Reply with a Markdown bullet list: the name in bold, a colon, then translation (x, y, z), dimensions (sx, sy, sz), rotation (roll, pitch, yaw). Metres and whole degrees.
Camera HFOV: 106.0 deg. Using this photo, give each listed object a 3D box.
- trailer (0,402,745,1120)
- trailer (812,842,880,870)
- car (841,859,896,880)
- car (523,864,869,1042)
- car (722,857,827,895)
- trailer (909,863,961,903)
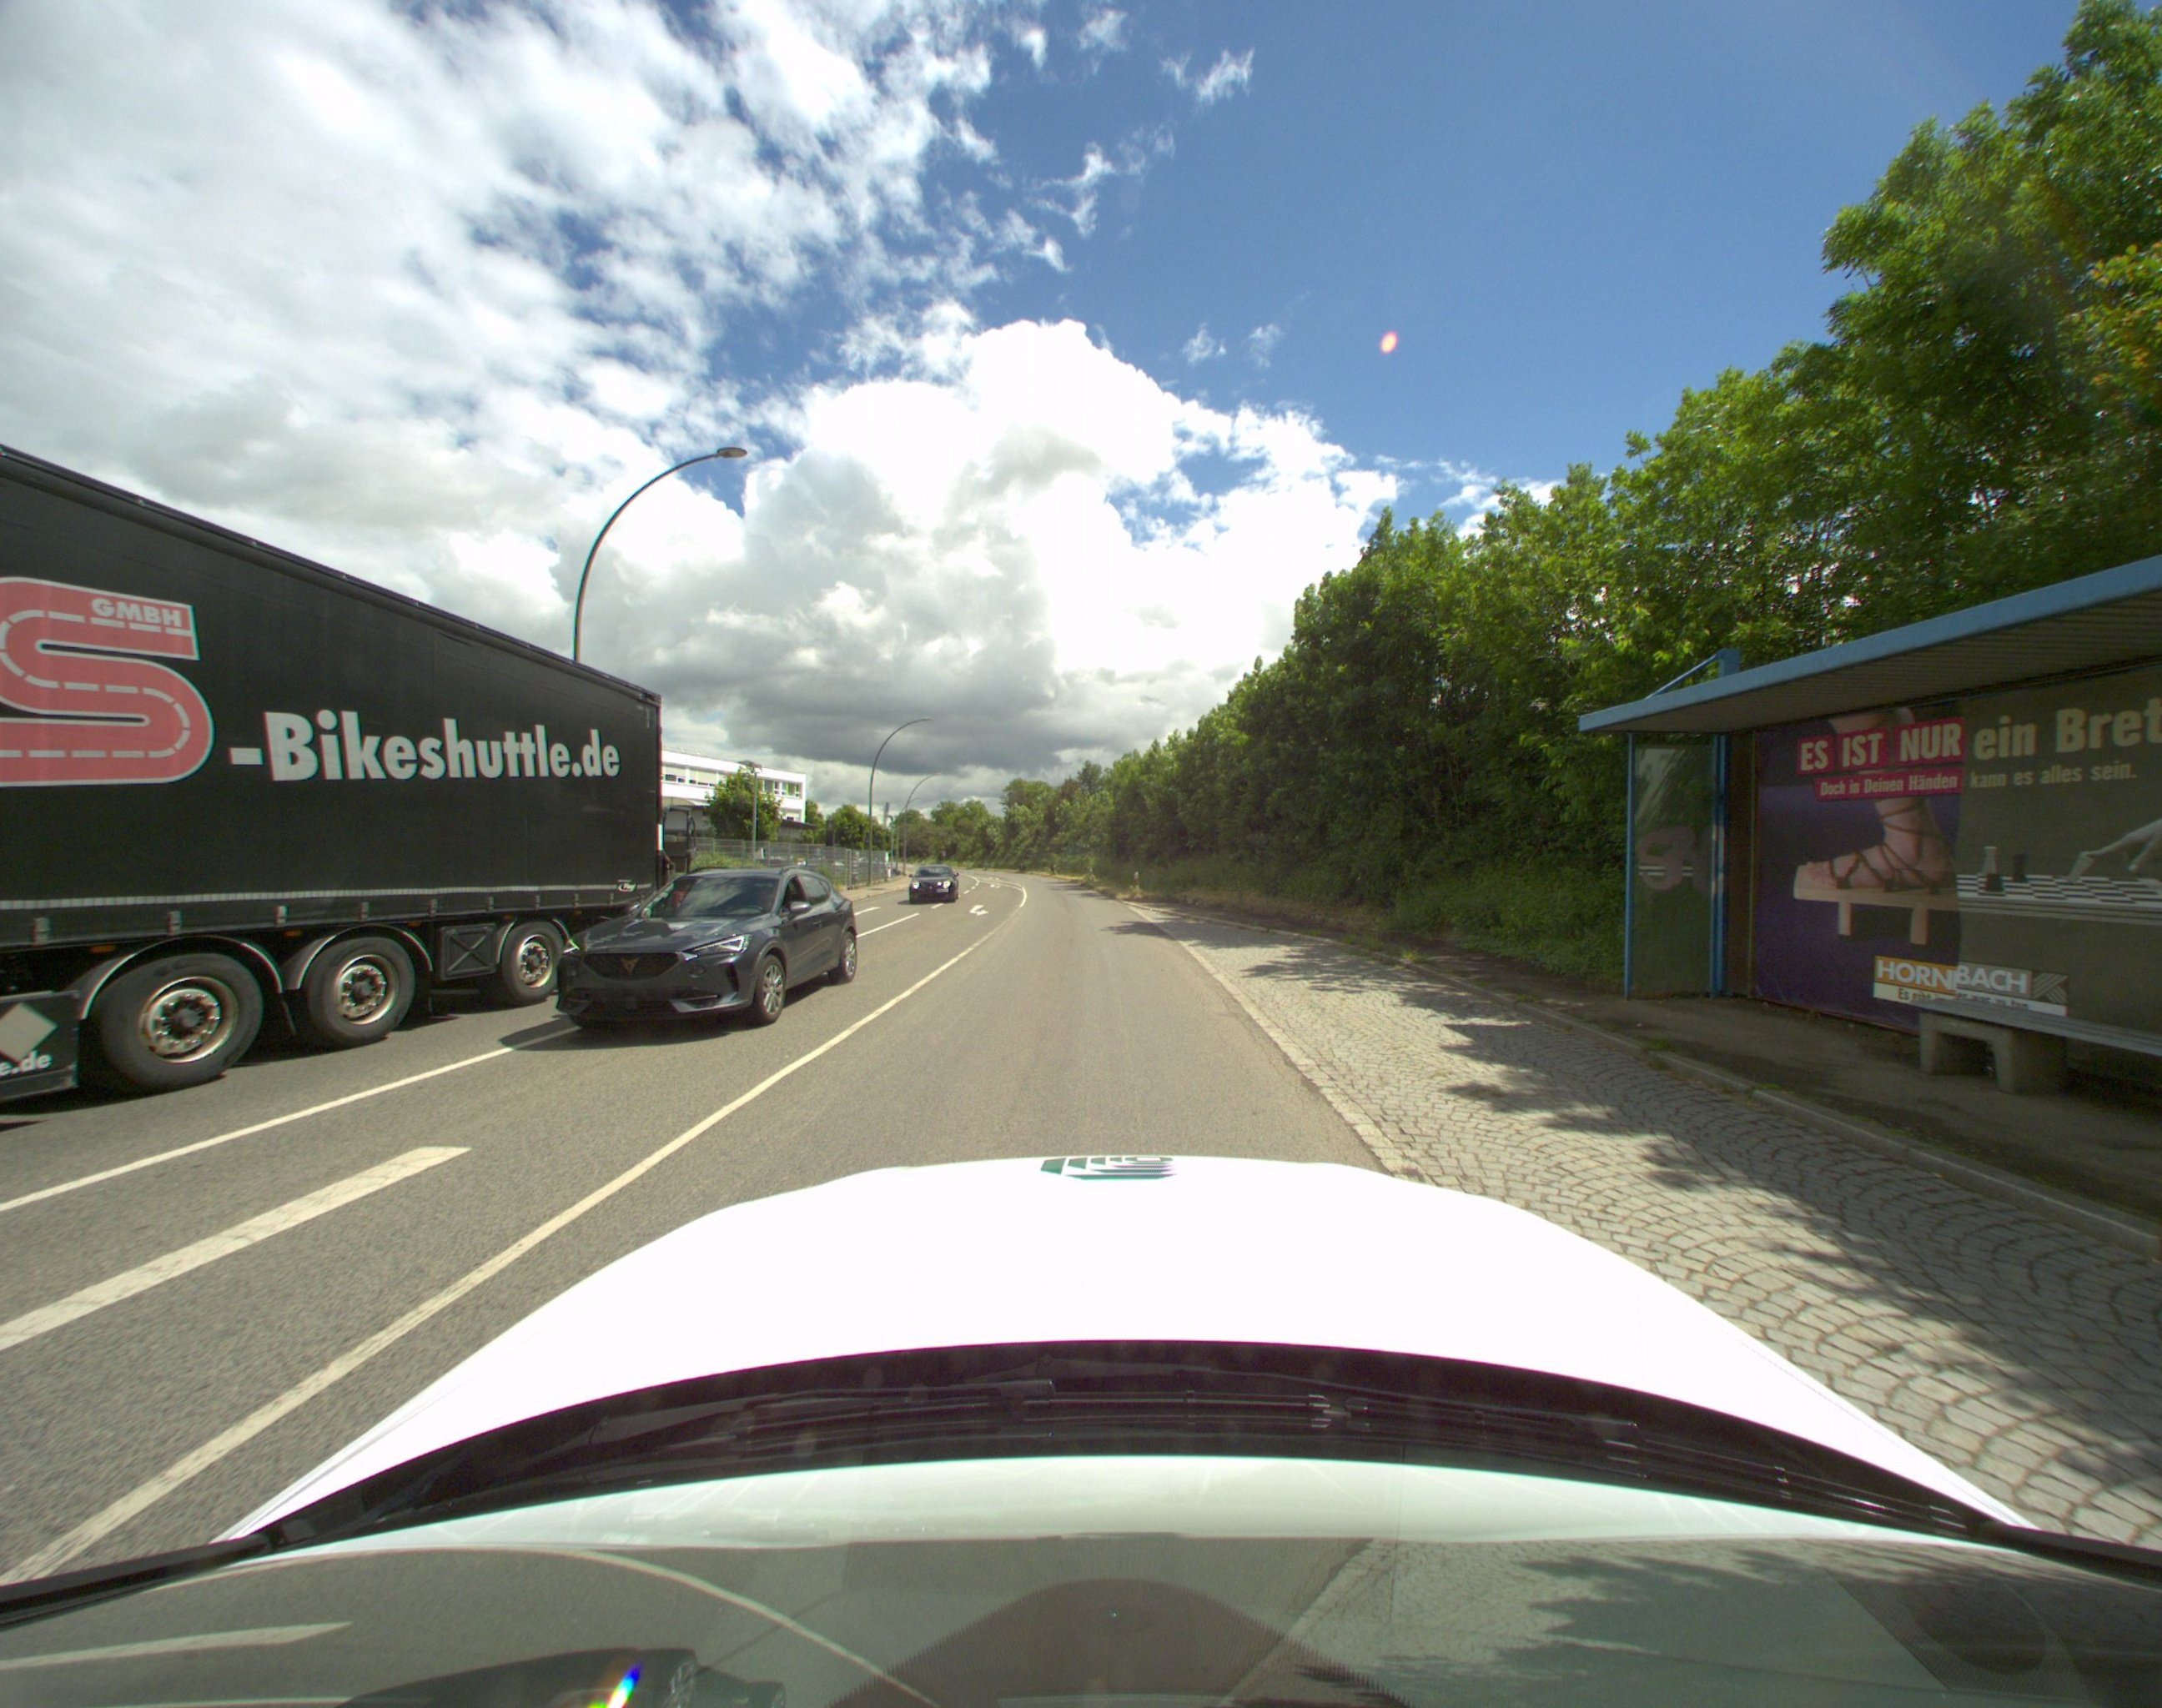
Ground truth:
- **trailer**: translation (-7.441, -0.526, 5.716), dimensions (2.787, 4.053, 15.568), rotation (1, -1, 3)
- **trailer**: translation (-36.645, 0.321, 126.997), dimensions (9.784, 4.093, 2.798), rotation (-1, 0, -31)
- **car**: translation (-18.107, 1.335, 69.328), dimensions (3.941, 1.701, 2.184), rotation (1, -1, 20)
- **car**: translation (-3.818, 0.861, 9.035), dimensions (1.834, 1.463, 4.252), rotation (-1, -1, -1)
- **car**: translation (-14.644, 1.042, 39.110), dimensions (4.181, 1.701, 2.171), rotation (1, -1, -3)
- **trailer**: translation (-5.594, 1.079, 31.626), dimensions (1.645, 1.423, 3.992), rotation (-1, 0, -6)
